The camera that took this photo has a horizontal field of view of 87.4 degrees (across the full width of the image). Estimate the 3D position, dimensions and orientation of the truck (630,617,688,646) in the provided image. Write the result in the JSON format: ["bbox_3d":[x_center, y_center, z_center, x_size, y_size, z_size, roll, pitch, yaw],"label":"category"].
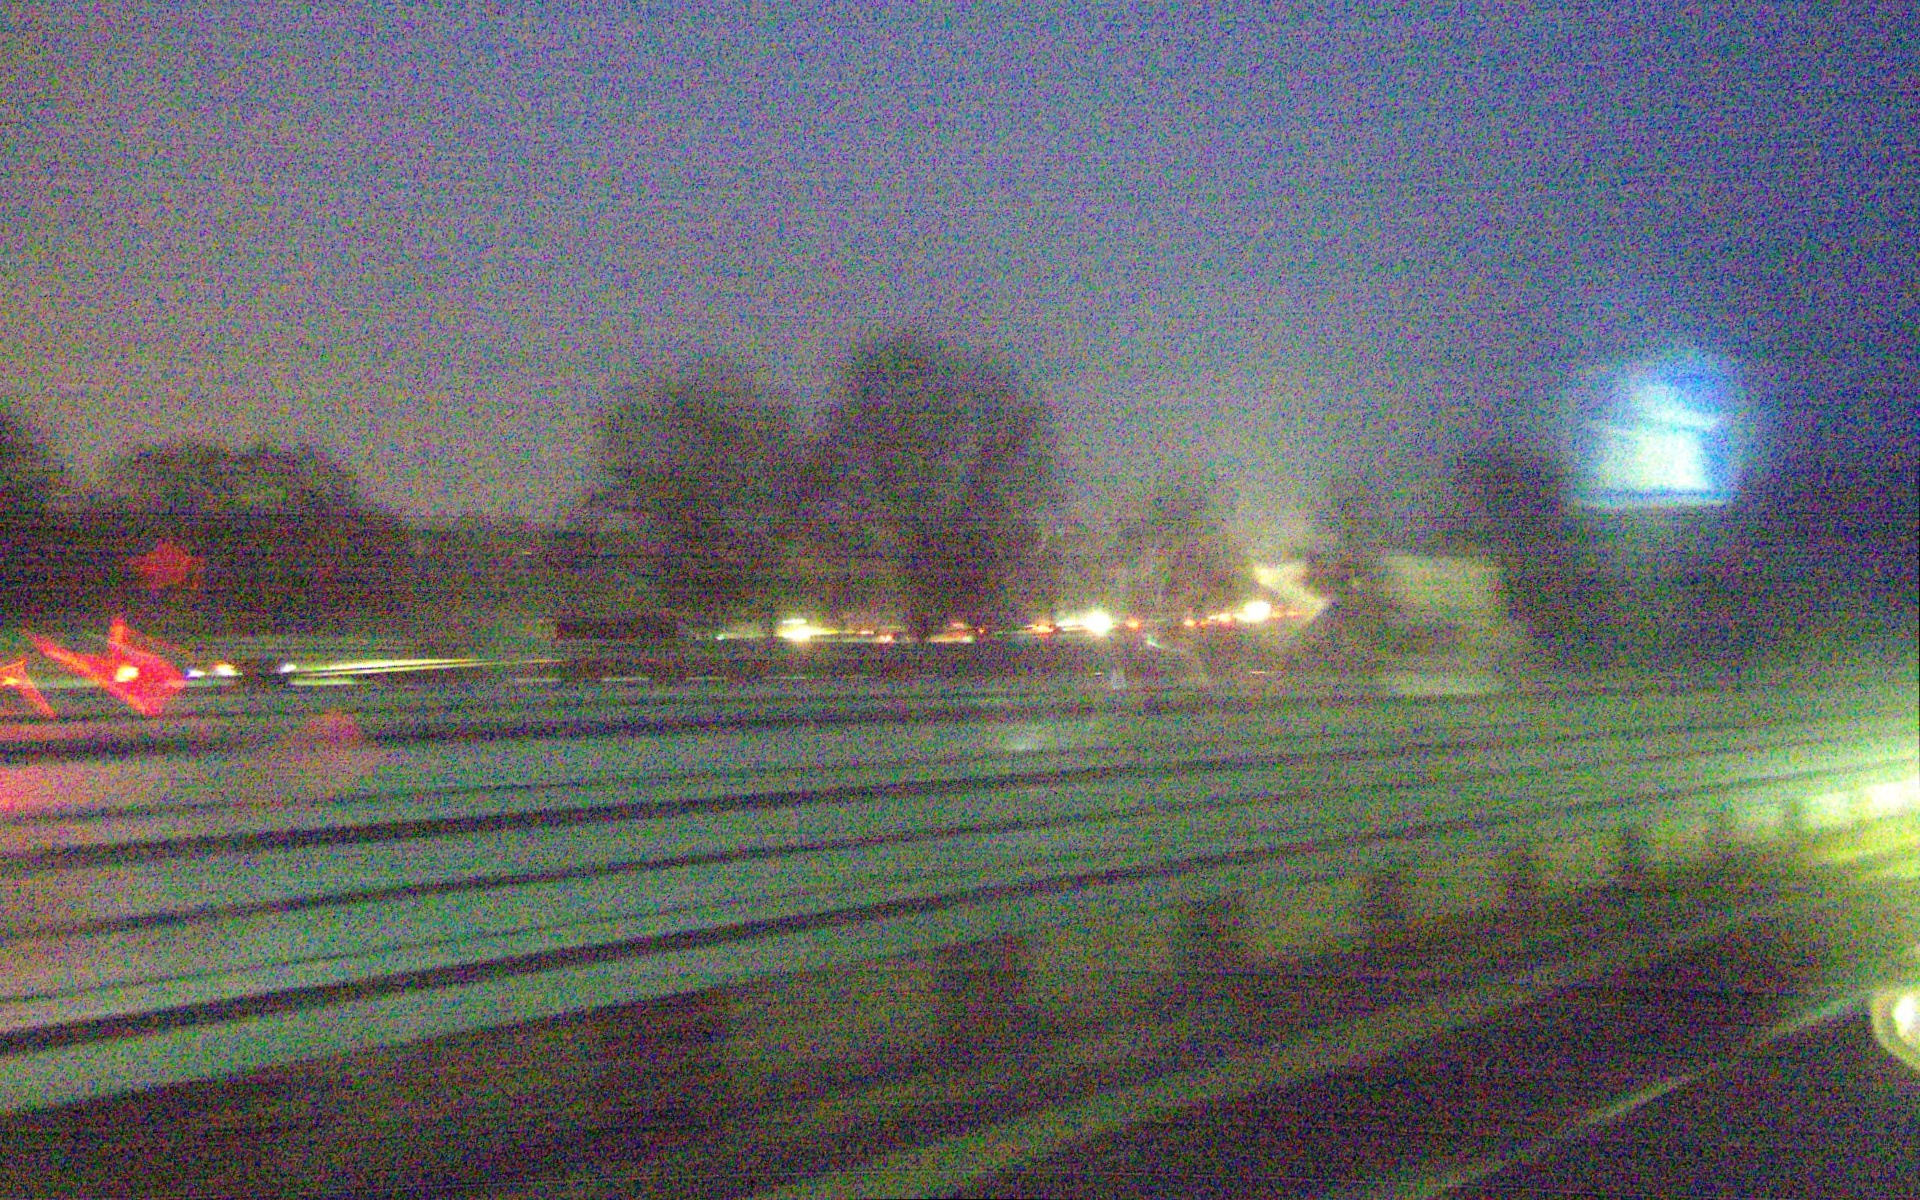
[{"bbox_3d":[-29.314,3.052,97.870,2.640,2.726,4.743,2,0,34],"label":"truck"}]

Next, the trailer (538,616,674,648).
[{"bbox_3d":[-32.507,2.932,93.109,2.651,2.735,12.820,2,0,34],"label":"trailer"}]
